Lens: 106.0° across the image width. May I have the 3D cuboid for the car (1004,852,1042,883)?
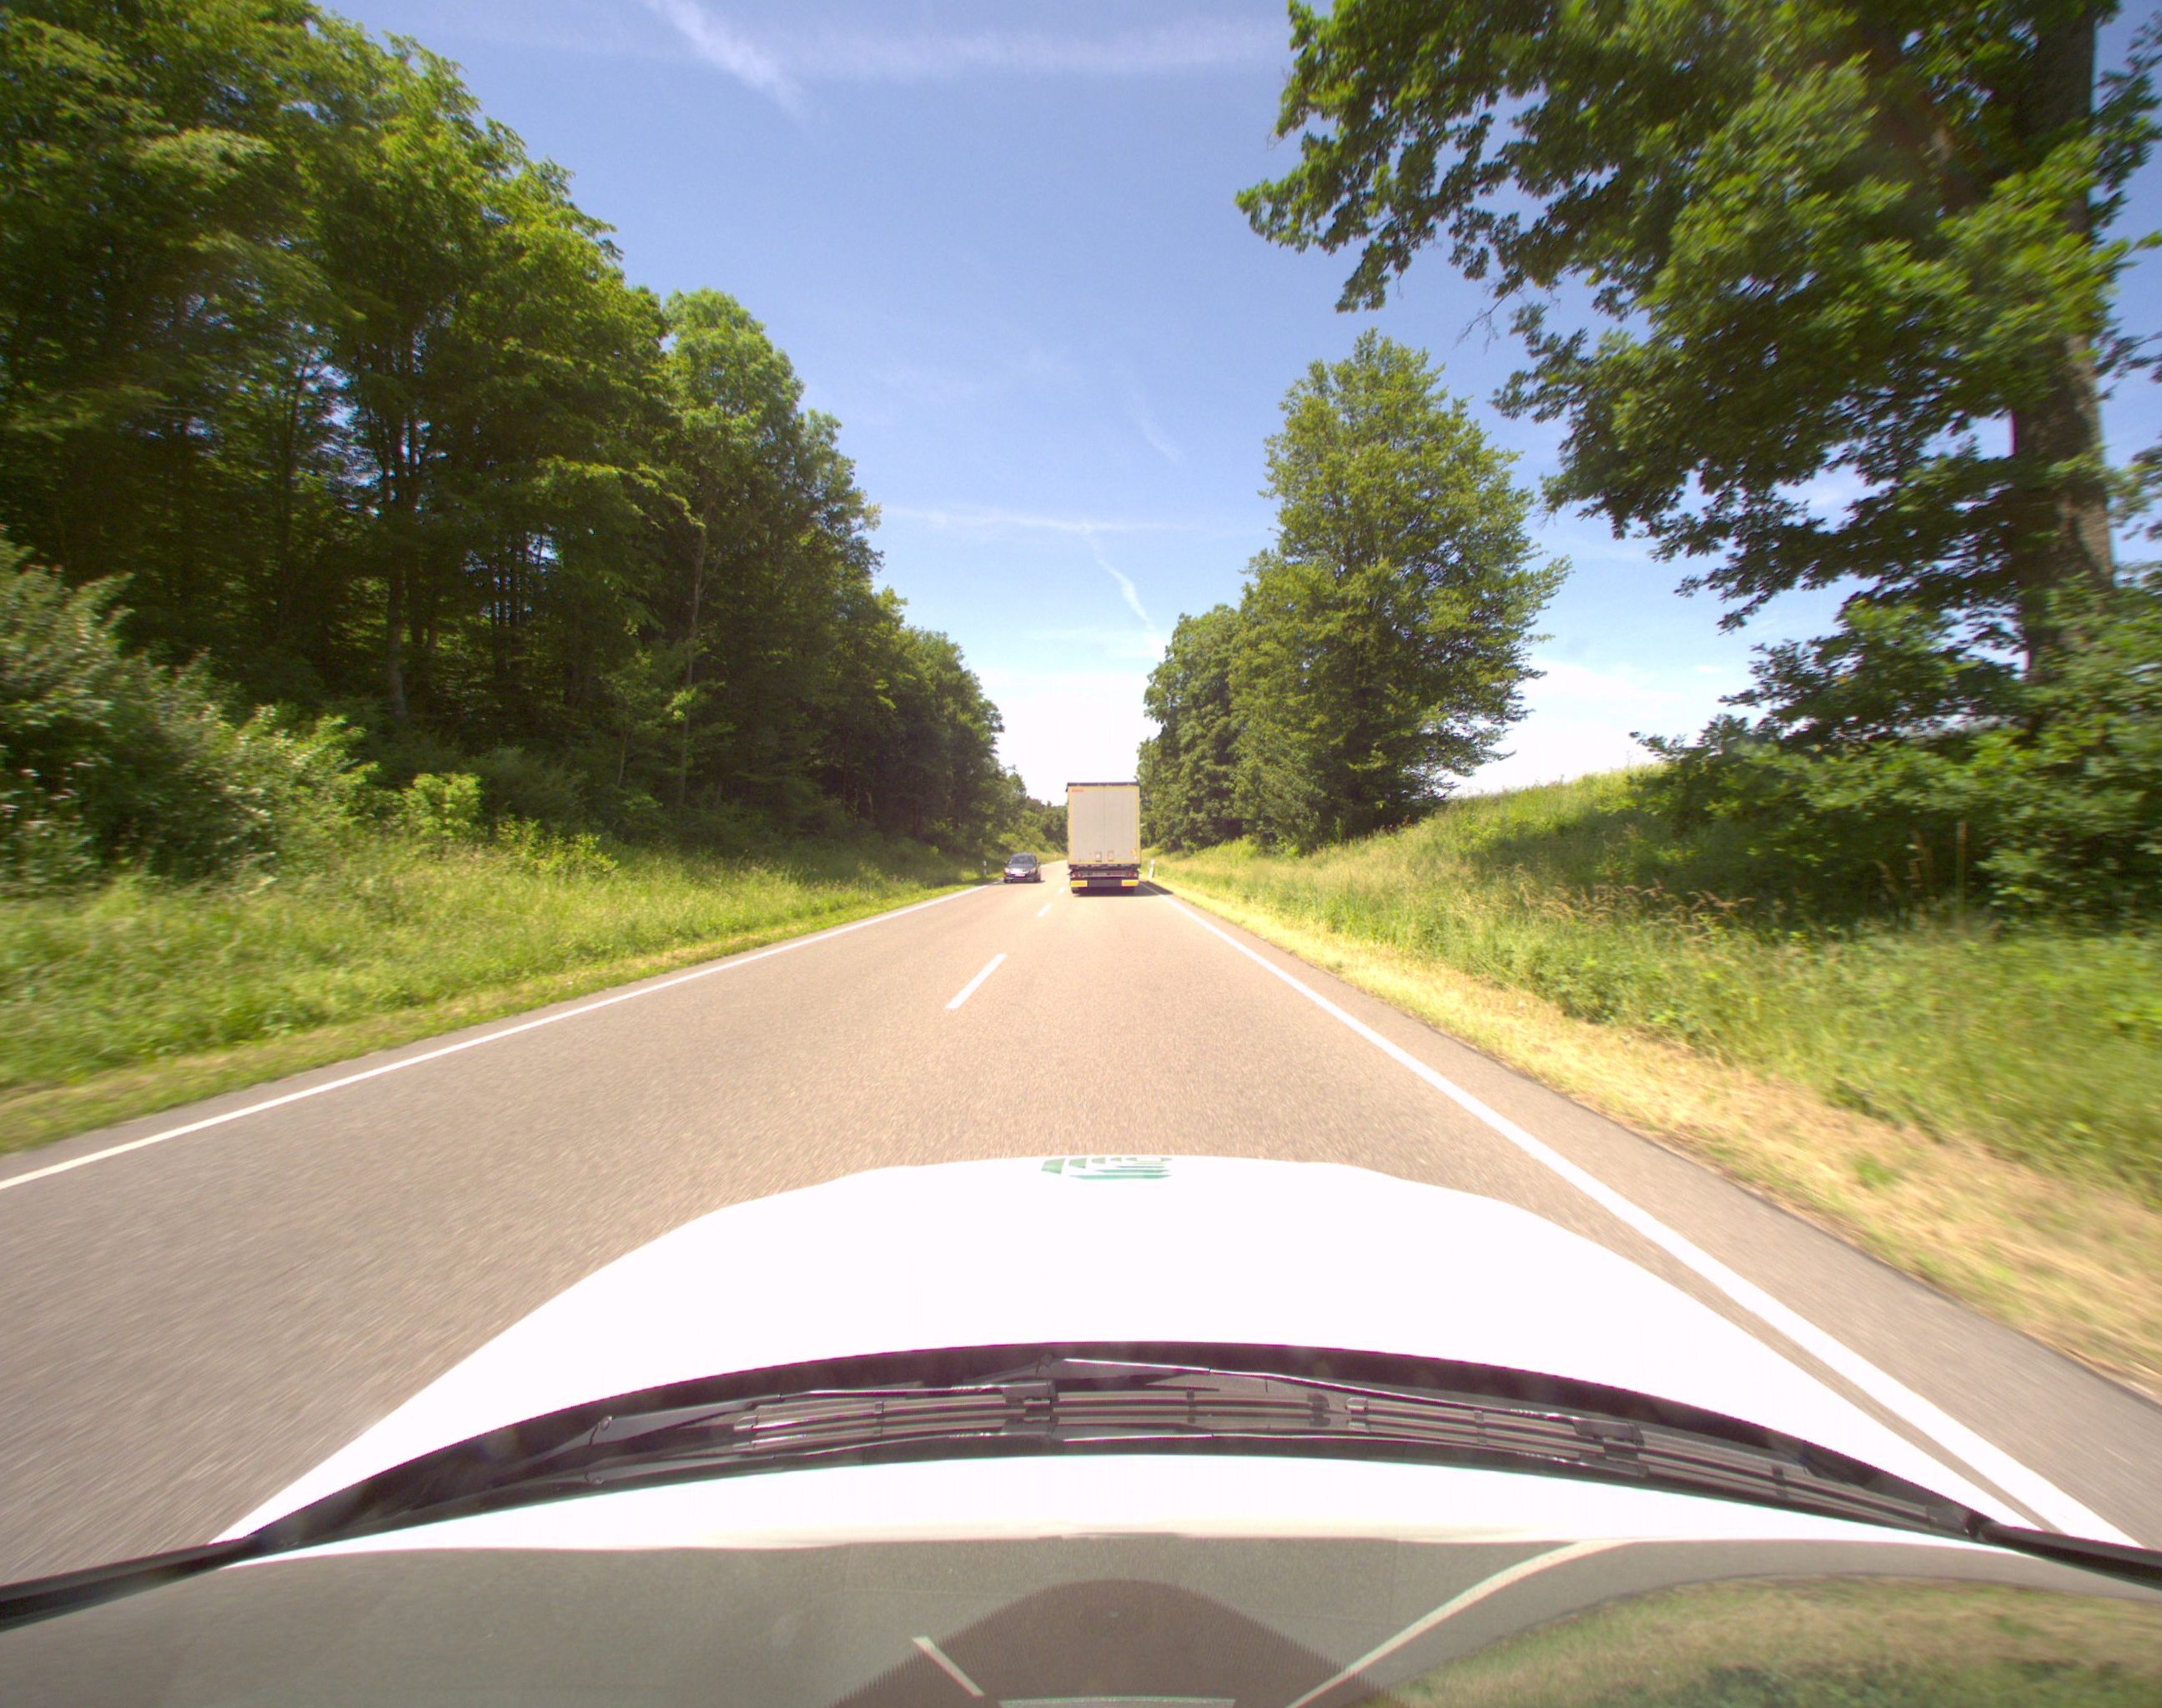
[{"bbox_3d":[-3.078,0.687,43.659,1.766,1.570,4.216,-1,0,-1],"label":"car"}]

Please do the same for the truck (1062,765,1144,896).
[{"bbox_3d":[0.802,-0.821,34.041,2.808,4.532,11.767,-1,0,0],"label":"truck"}]
